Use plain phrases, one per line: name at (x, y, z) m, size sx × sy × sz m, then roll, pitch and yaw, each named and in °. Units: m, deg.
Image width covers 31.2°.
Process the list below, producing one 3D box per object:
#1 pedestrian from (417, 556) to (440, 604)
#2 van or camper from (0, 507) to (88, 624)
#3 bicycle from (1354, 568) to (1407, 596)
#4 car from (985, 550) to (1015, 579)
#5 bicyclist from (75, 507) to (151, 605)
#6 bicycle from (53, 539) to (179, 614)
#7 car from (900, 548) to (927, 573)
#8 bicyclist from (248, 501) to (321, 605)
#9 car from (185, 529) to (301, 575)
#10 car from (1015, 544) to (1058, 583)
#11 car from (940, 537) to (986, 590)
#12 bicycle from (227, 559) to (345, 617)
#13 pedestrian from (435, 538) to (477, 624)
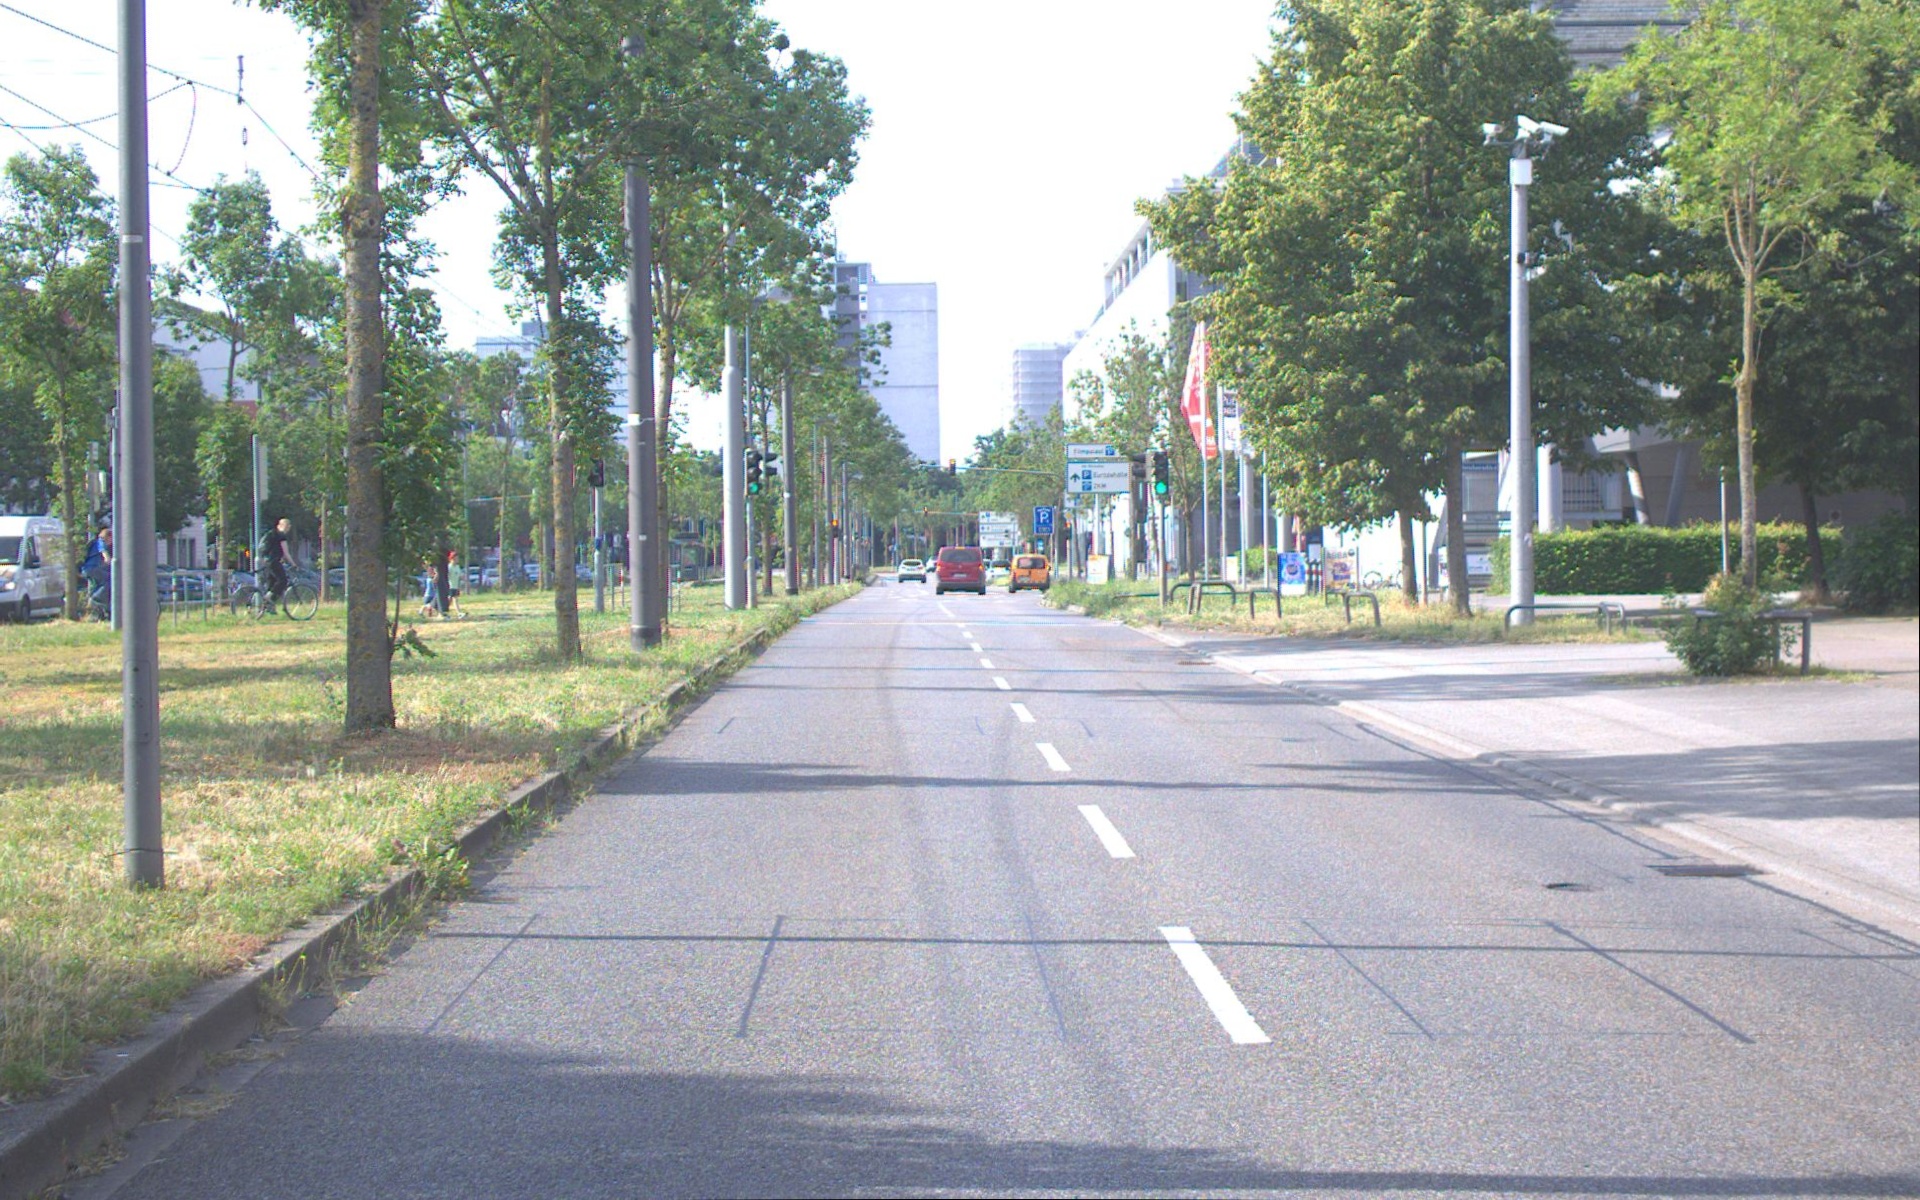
pedestrian at (-9.773, -0.371, 63.236) m, size 0.341 × 0.872 × 0.461 m, roll 1°, pitch 0°, yaw 0°
van or camper at (-21.518, -0.798, 77.670) m, size 2.203 × 2.522 × 6.031 m, roll 1°, pitch 0°, yaw -2°
bicycle at (13.677, -0.580, 111.855) m, size 1.621 × 0.885 × 0.551 m, roll 1°, pitch 0°, yaw -2°
car at (2.370, -2.111, 204.903) m, size 1.748 × 1.645 × 3.216 m, roll 2°, pitch 0°, yaw 0°
bicyclist at (-15.448, -0.798, 62.674) m, size 1.147 × 1.756 × 0.686 m, roll 1°, pitch 0°, yaw -33°
bicycle at (-15.389, -0.429, 62.724) m, size 2.066 × 1.319 × 0.784 m, roll 1°, pitch 0°, yaw -32°
car at (-3.185, -2.733, 235.850) m, size 1.748 × 1.645 × 3.216 m, roll 2°, pitch 0°, yaw 0°
bicyclist at (-12.717, -0.887, 64.742) m, size 1.147 × 1.927 × 0.686 m, roll 1°, pitch 0°, yaw -29°
car at (-25.841, -1.736, 123.906) m, size 3.992 × 1.525 × 1.462 m, roll 2°, pitch 0°, yaw 25°
car at (3.347, -1.590, 150.783) m, size 1.748 × 1.645 × 3.216 m, roll 2°, pitch 0°, yaw 0°
car at (0.111, -1.426, 133.873) m, size 1.748 × 2.007 × 3.216 m, roll 1°, pitch 0°, yaw 0°
bicycle at (-12.691, -0.227, 64.752) m, size 2.066 × 1.039 × 0.668 m, roll 1°, pitch 0°, yaw -29°
pedestrian at (-9.257, -0.354, 63.184) m, size 0.625 × 1.566 × 0.711 m, roll 1°, pitch 0°, yaw 0°
